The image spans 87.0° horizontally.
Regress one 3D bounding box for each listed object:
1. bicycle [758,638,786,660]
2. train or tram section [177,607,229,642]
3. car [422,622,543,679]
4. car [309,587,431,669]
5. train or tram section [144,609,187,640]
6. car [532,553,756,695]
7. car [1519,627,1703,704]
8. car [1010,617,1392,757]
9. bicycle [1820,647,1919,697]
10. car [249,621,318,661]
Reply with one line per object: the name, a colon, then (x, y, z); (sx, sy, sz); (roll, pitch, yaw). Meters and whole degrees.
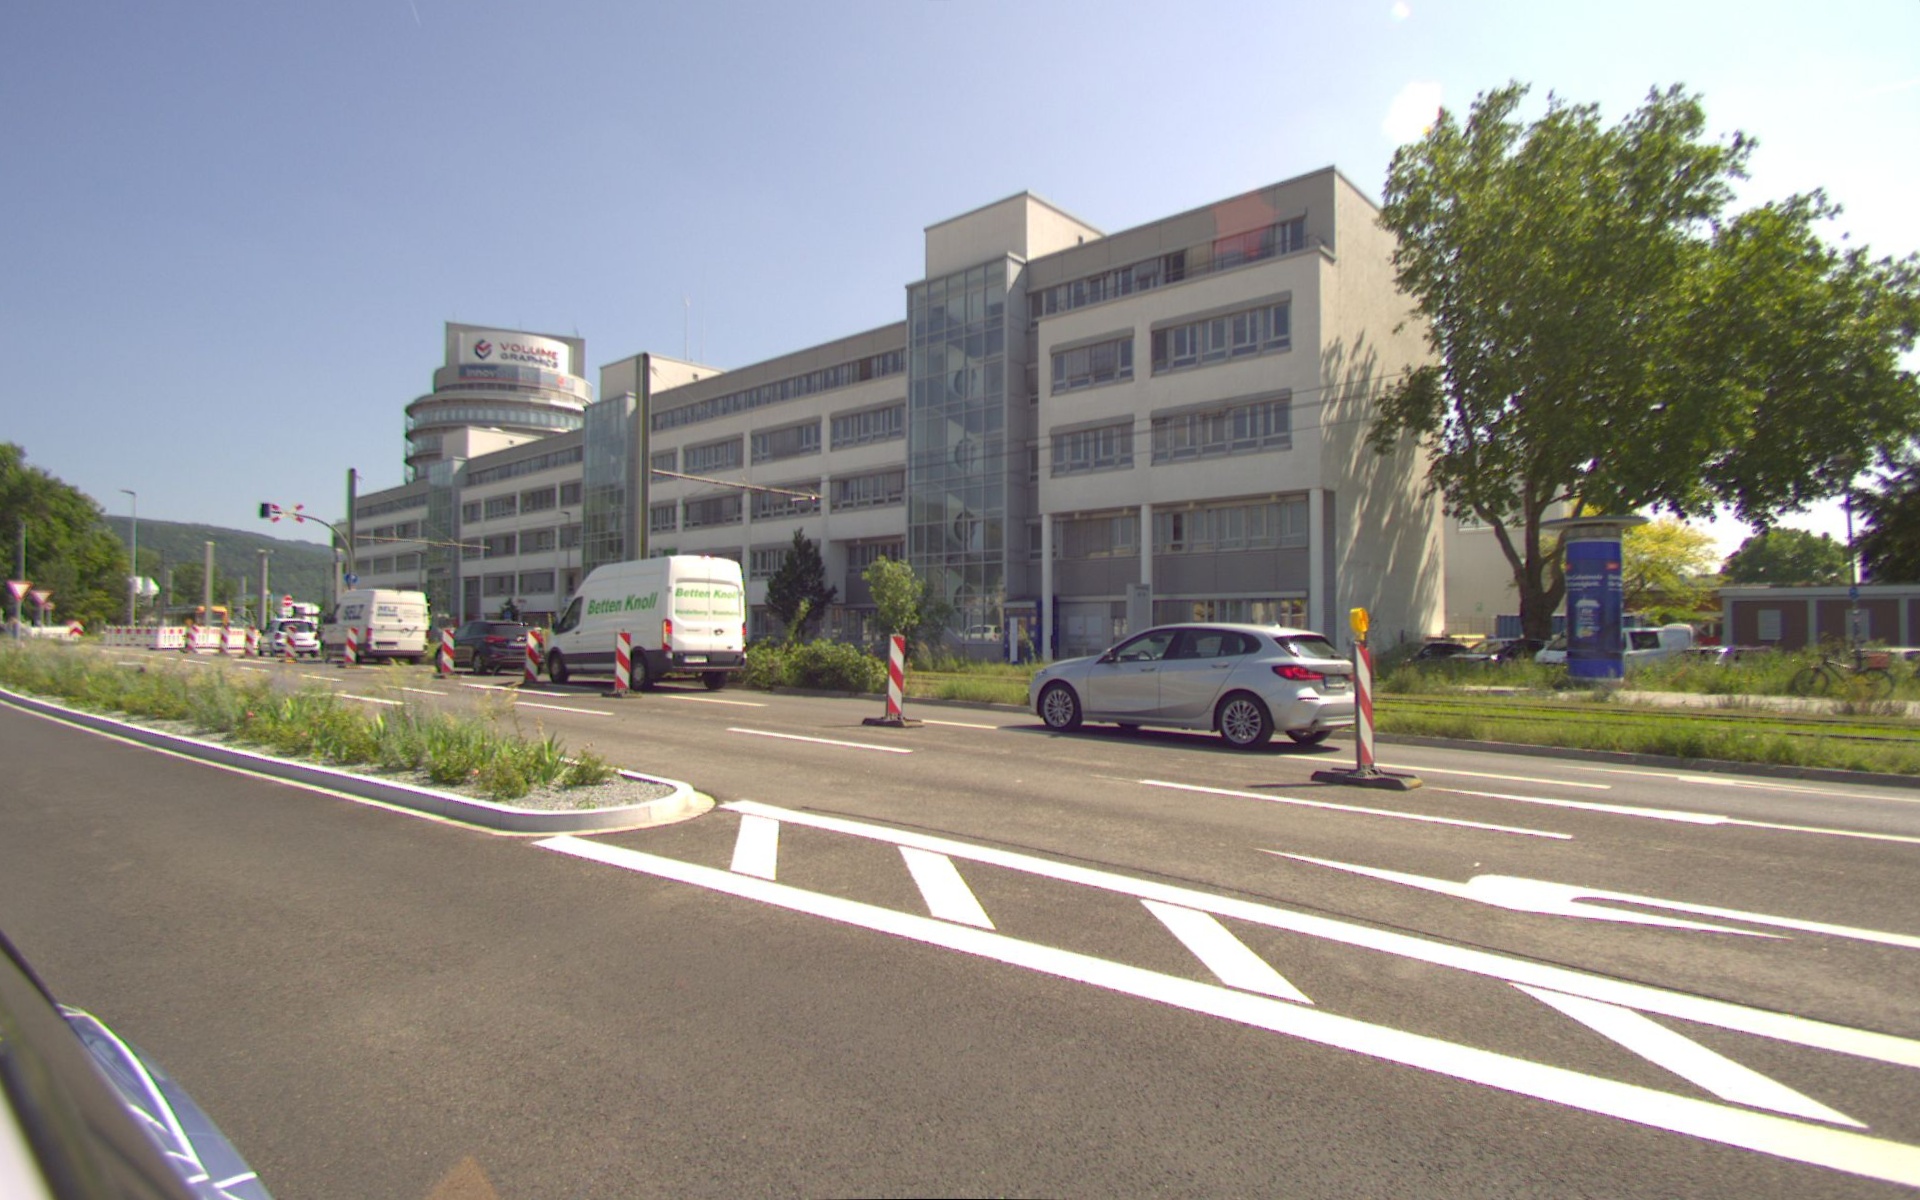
bicycle: (-10.830, 2.825, 58.239); (0.438, 1.198, 1.629); (-2, -1, 43)
train or tram section: (-78.385, 2.507, 104.675); (11.785, 3.477, 2.595); (-1, -1, 44)
car: (-13.255, 1.386, 27.975); (4.193, 1.468, 1.528); (-2, -4, 43)
car: (-20.856, 1.024, 35.640); (6.196, 2.598, 2.008); (-2, -5, 44)
train or tram section: (-95.188, 2.955, 121.153); (11.785, 3.477, 2.595); (-1, -1, 44)
car: (-7.190, 0.572, 22.570); (5.987, 2.761, 2.054); (-1, -4, 44)
car: (19.816, 1.923, 30.821); (4.988, 2.196, 2.120); (0, -2, -21)
car: (2.835, 0.982, 12.685); (1.654, 1.454, 4.471); (4, -4, -45)
bicycle: (19.274, 1.503, 21.435); (0.455, 0.993, 1.558); (1, -2, -44)
car: (-28.128, 1.710, 42.064); (1.562, 1.553, 3.980); (5, -5, -45)
